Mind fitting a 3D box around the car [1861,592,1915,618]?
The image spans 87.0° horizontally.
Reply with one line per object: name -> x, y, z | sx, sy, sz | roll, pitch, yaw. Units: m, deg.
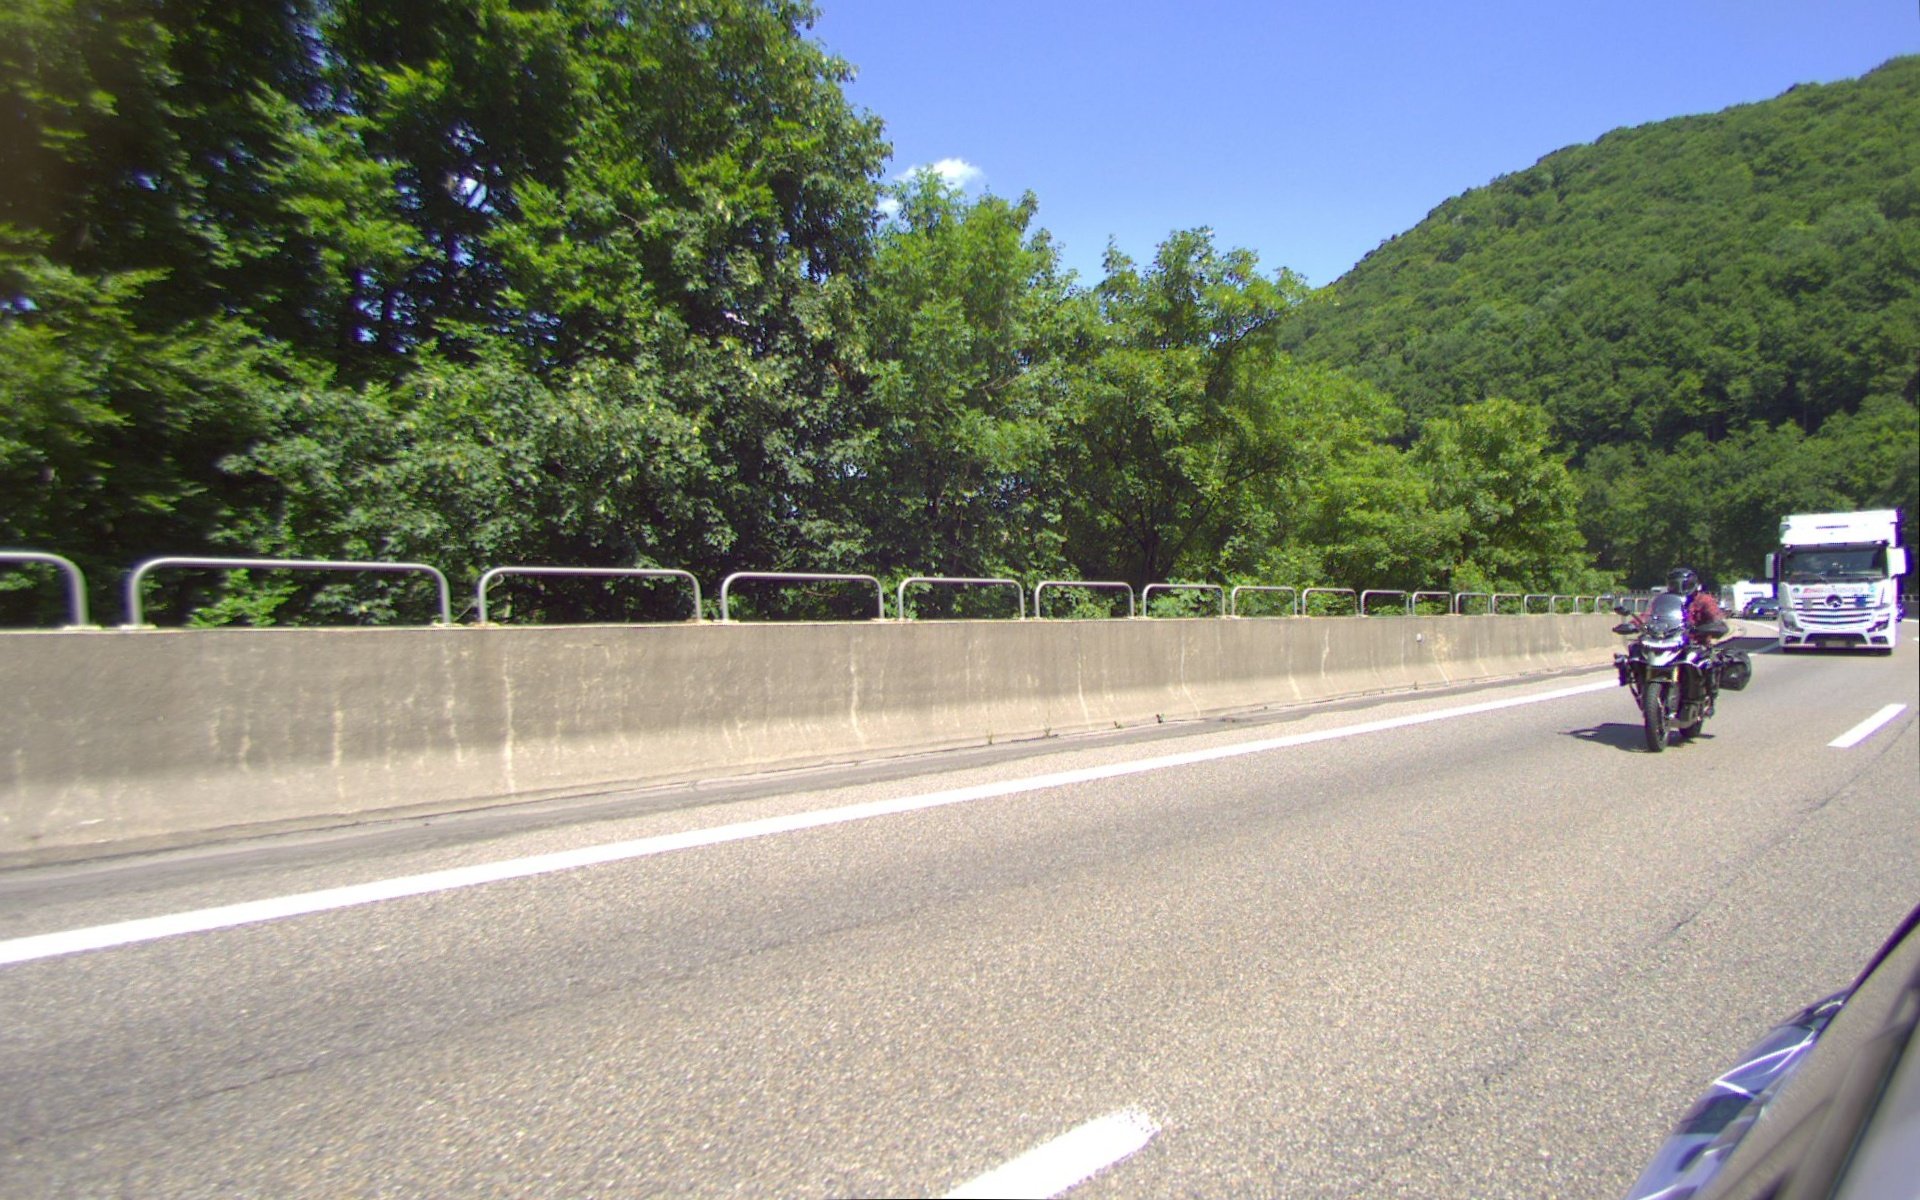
car -> 56.595, 0.278, 61.765 | 1.744, 1.507, 3.935 | 1, 1, 33

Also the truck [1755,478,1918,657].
truck -> 26.871, -0.784, 30.723 | 2.960, 4.185, 16.448 | -1, 0, 43

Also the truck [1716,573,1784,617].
truck -> 58.668, -0.329, 75.350 | 2.592, 3.141, 6.792 | -1, 0, 26

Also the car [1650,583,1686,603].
car -> 73.764, -0.748, 105.439 | 1.974, 2.039, 3.976 | 1, 1, 19

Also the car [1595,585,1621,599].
car -> 89.497, -1.061, 139.814 | 1.973, 1.816, 3.977 | 0, 0, 18

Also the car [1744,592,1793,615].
car -> 56.255, 0.209, 70.519 | 1.738, 1.507, 3.948 | 1, 1, 25

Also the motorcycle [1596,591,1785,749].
motorcycle -> 7.593, 0.668, 10.458 | 2.633, 1.438, 0.974 | 1, -2, -41

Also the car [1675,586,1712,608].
car -> 71.293, -0.301, 98.401 | 1.976, 2.039, 3.972 | 1, 1, 21

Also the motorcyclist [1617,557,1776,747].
motorcyclist -> 7.665, 0.500, 10.525 | 1.314, 1.823, 1.062 | 1, -1, -41
